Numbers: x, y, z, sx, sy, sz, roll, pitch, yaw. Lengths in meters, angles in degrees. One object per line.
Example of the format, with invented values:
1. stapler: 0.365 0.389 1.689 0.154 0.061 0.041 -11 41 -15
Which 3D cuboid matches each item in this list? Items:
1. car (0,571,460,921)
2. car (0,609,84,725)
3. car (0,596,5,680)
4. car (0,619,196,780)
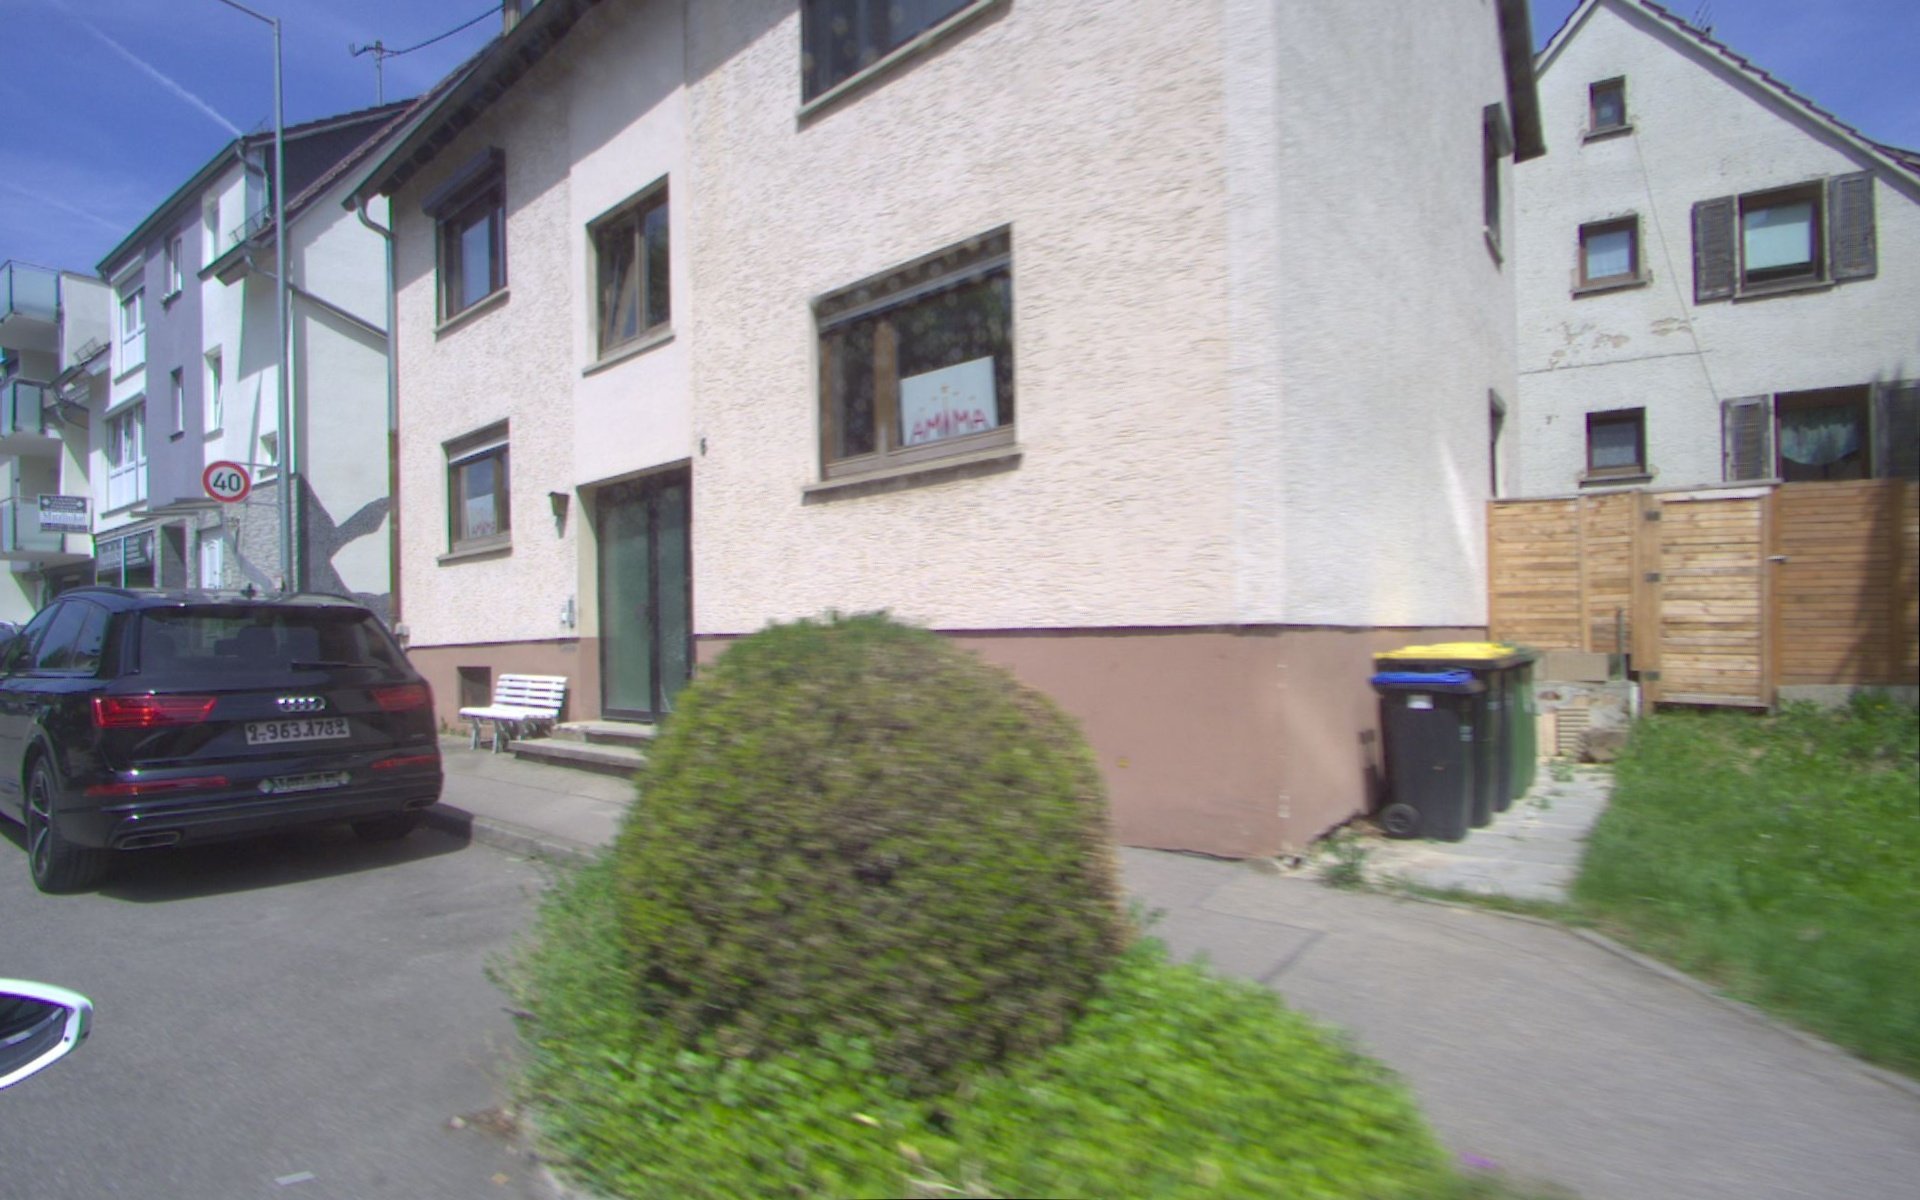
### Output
1. car: -5.505 0.765 7.021 4.599 1.691 1.837 -1 -2 39
2. car: -14.253 0.868 14.223 4.654 1.474 1.783 0 0 36
3. car: -18.305 0.747 17.182 4.654 1.737 1.949 0 -3 36
4. car: -10.154 0.953 11.068 4.304 1.439 1.781 0 0 39
